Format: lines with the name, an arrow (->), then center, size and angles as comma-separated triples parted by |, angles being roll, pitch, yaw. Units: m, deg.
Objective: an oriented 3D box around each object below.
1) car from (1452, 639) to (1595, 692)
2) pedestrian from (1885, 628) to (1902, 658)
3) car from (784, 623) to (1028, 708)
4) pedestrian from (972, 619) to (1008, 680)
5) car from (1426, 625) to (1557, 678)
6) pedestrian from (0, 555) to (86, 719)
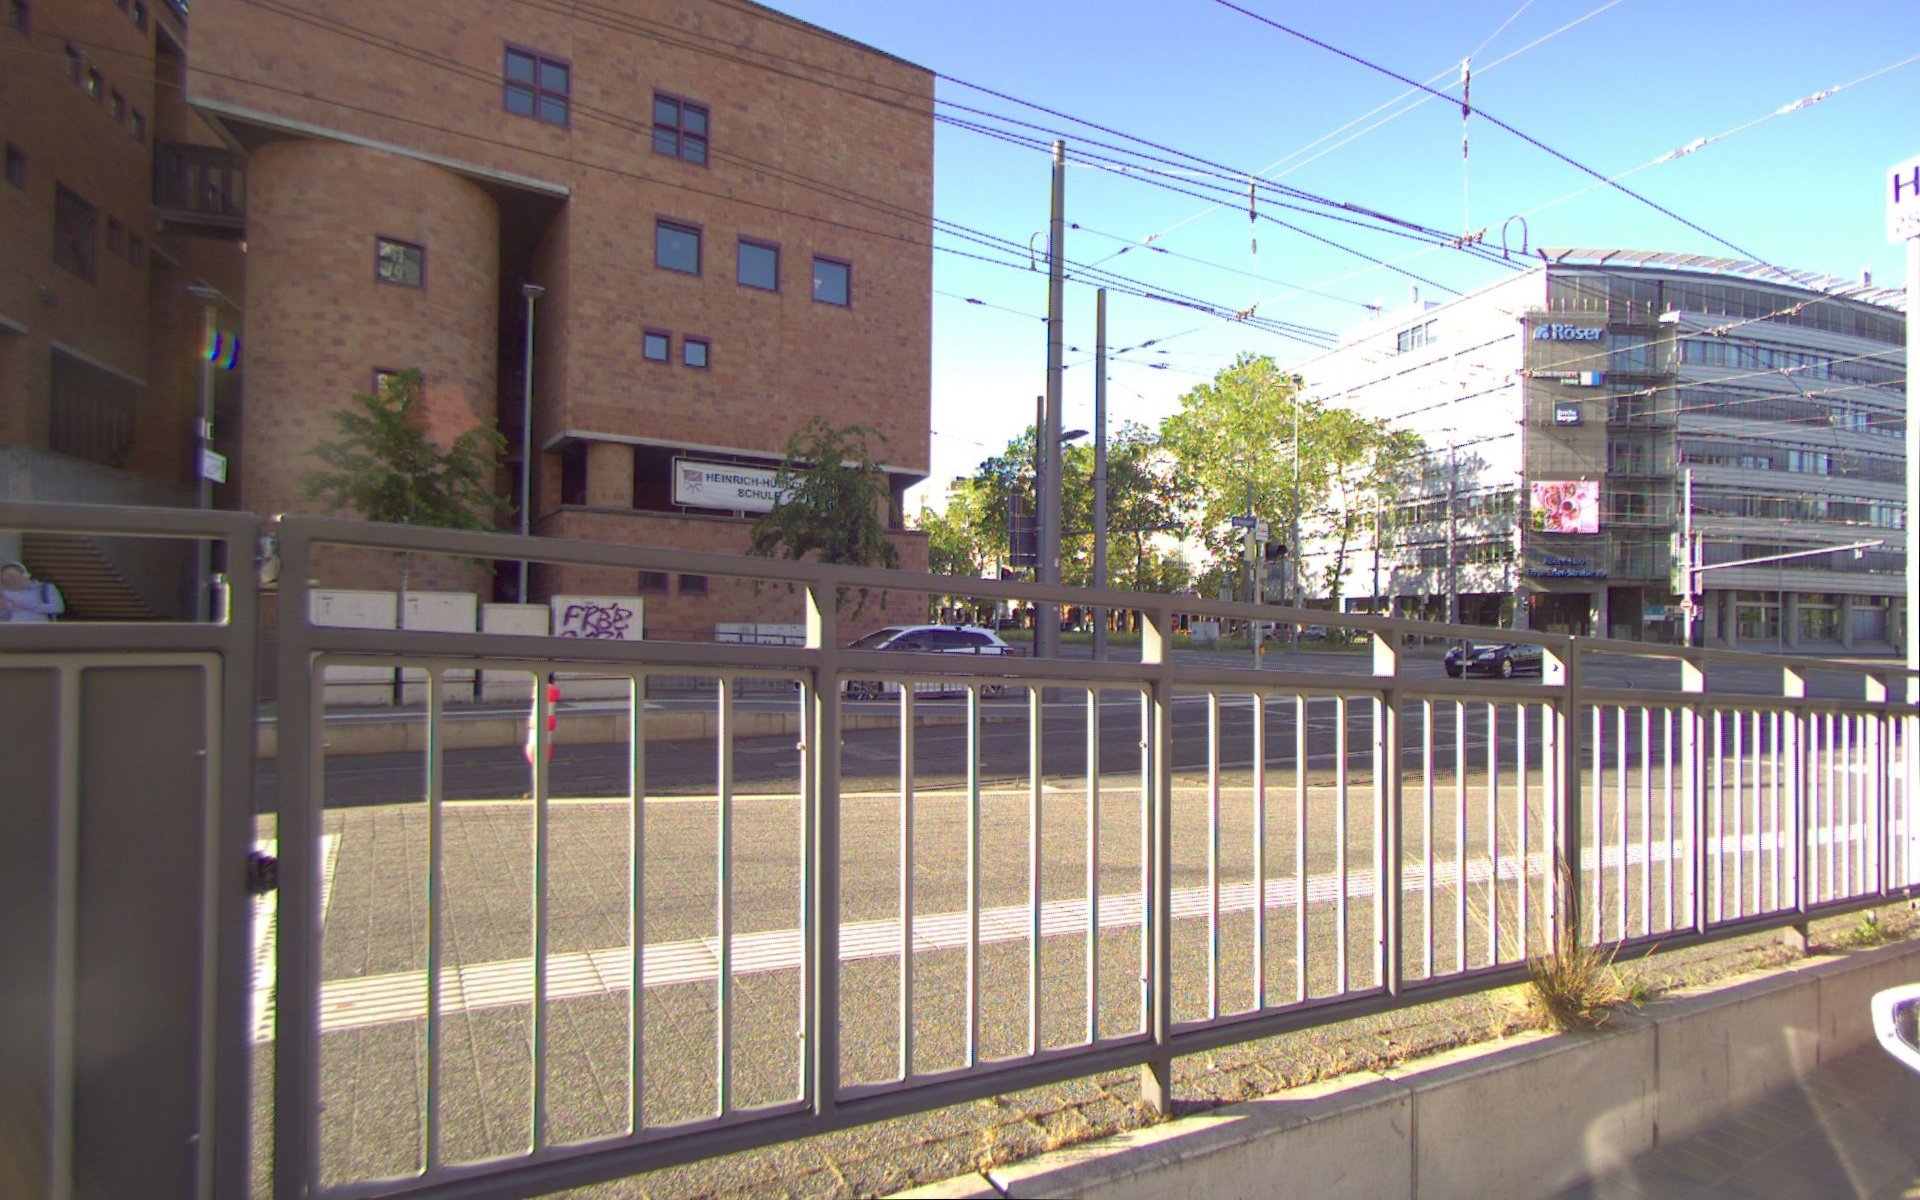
car -> 13.671, 1.561, 24.406 | 2.841, 1.077, 1.238 | 2, 0, 40
pedestrian -> 64.842, 2.959, 69.740 | 0.745, 2.040, 0.627 | 2, 0, -30
car -> -0.984, 1.199, 19.530 | 4.484, 1.449, 1.814 | 1, -1, -35
pedestrian -> 0.868, 1.433, 28.996 | 0.785, 1.714, 0.587 | 2, 0, -29
car -> 16.364, 1.574, 30.870 | 4.198, 1.449, 1.813 | 2, 0, -34
pedestrian -> -9.692, 0.376, 10.527 | 0.679, 1.656, 0.662 | 2, 0, -34
